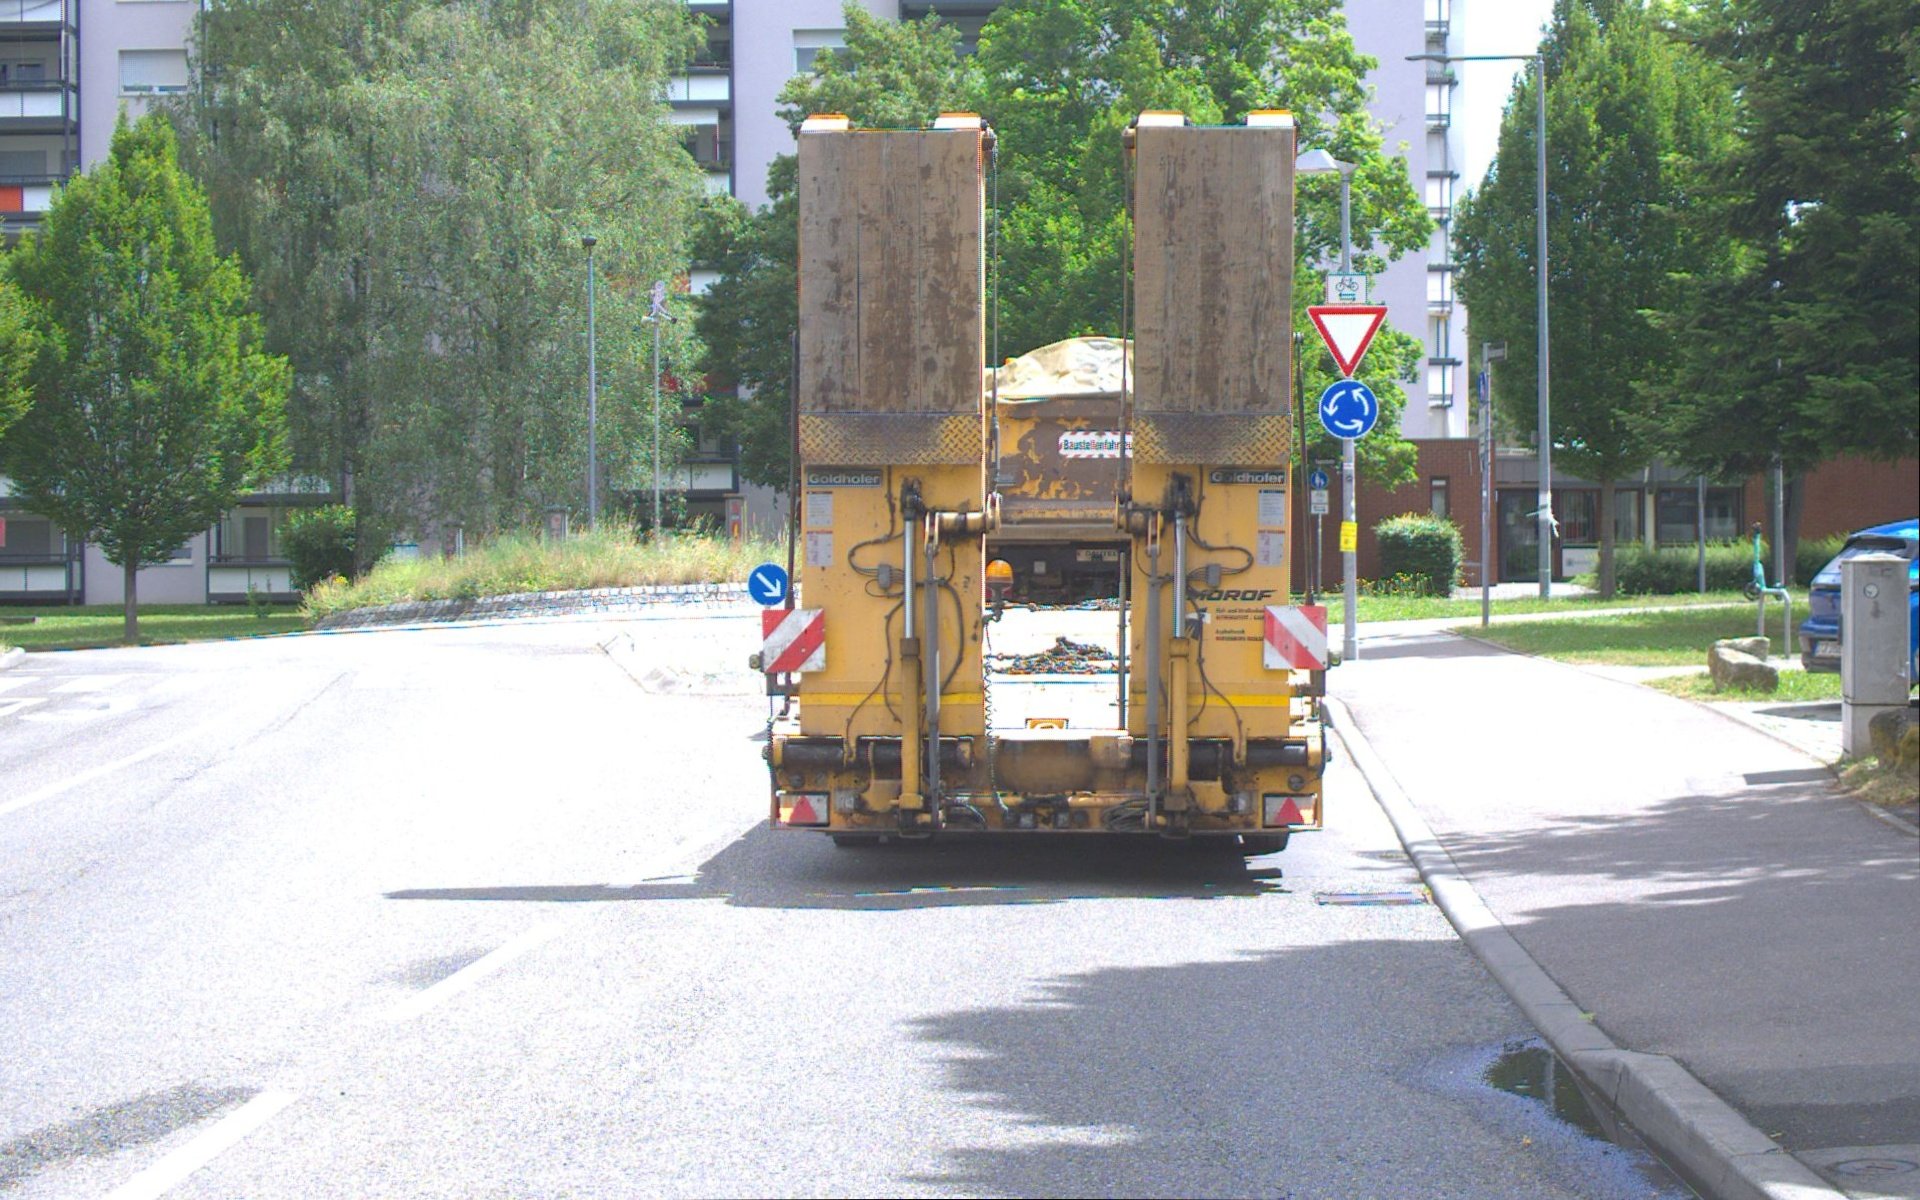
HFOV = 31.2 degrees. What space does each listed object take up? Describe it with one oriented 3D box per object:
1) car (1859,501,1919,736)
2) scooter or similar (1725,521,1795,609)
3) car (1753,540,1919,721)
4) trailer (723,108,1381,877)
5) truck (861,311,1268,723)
[{"bbox_3d":[8.212,0.031,22.905,3.728,1.551,2.032,-3,1,-9],"label":"car"},{"bbox_3d":[12.588,-0.559,54.075,0.485,1.338,1.385,-1,1,39],"label":"scooter or similar"},{"bbox_3d":[8.609,0.106,26.265,4.481,1.239,2.001,-4,1,-11],"label":"car"},{"bbox_3d":[0.520,-0.622,20.630,2.864,3.361,10.841,1,2,1],"label":"trailer"},{"bbox_3d":[0.674,-0.790,30.288,2.987,3.024,8.487,2,2,-2],"label":"truck"}]
